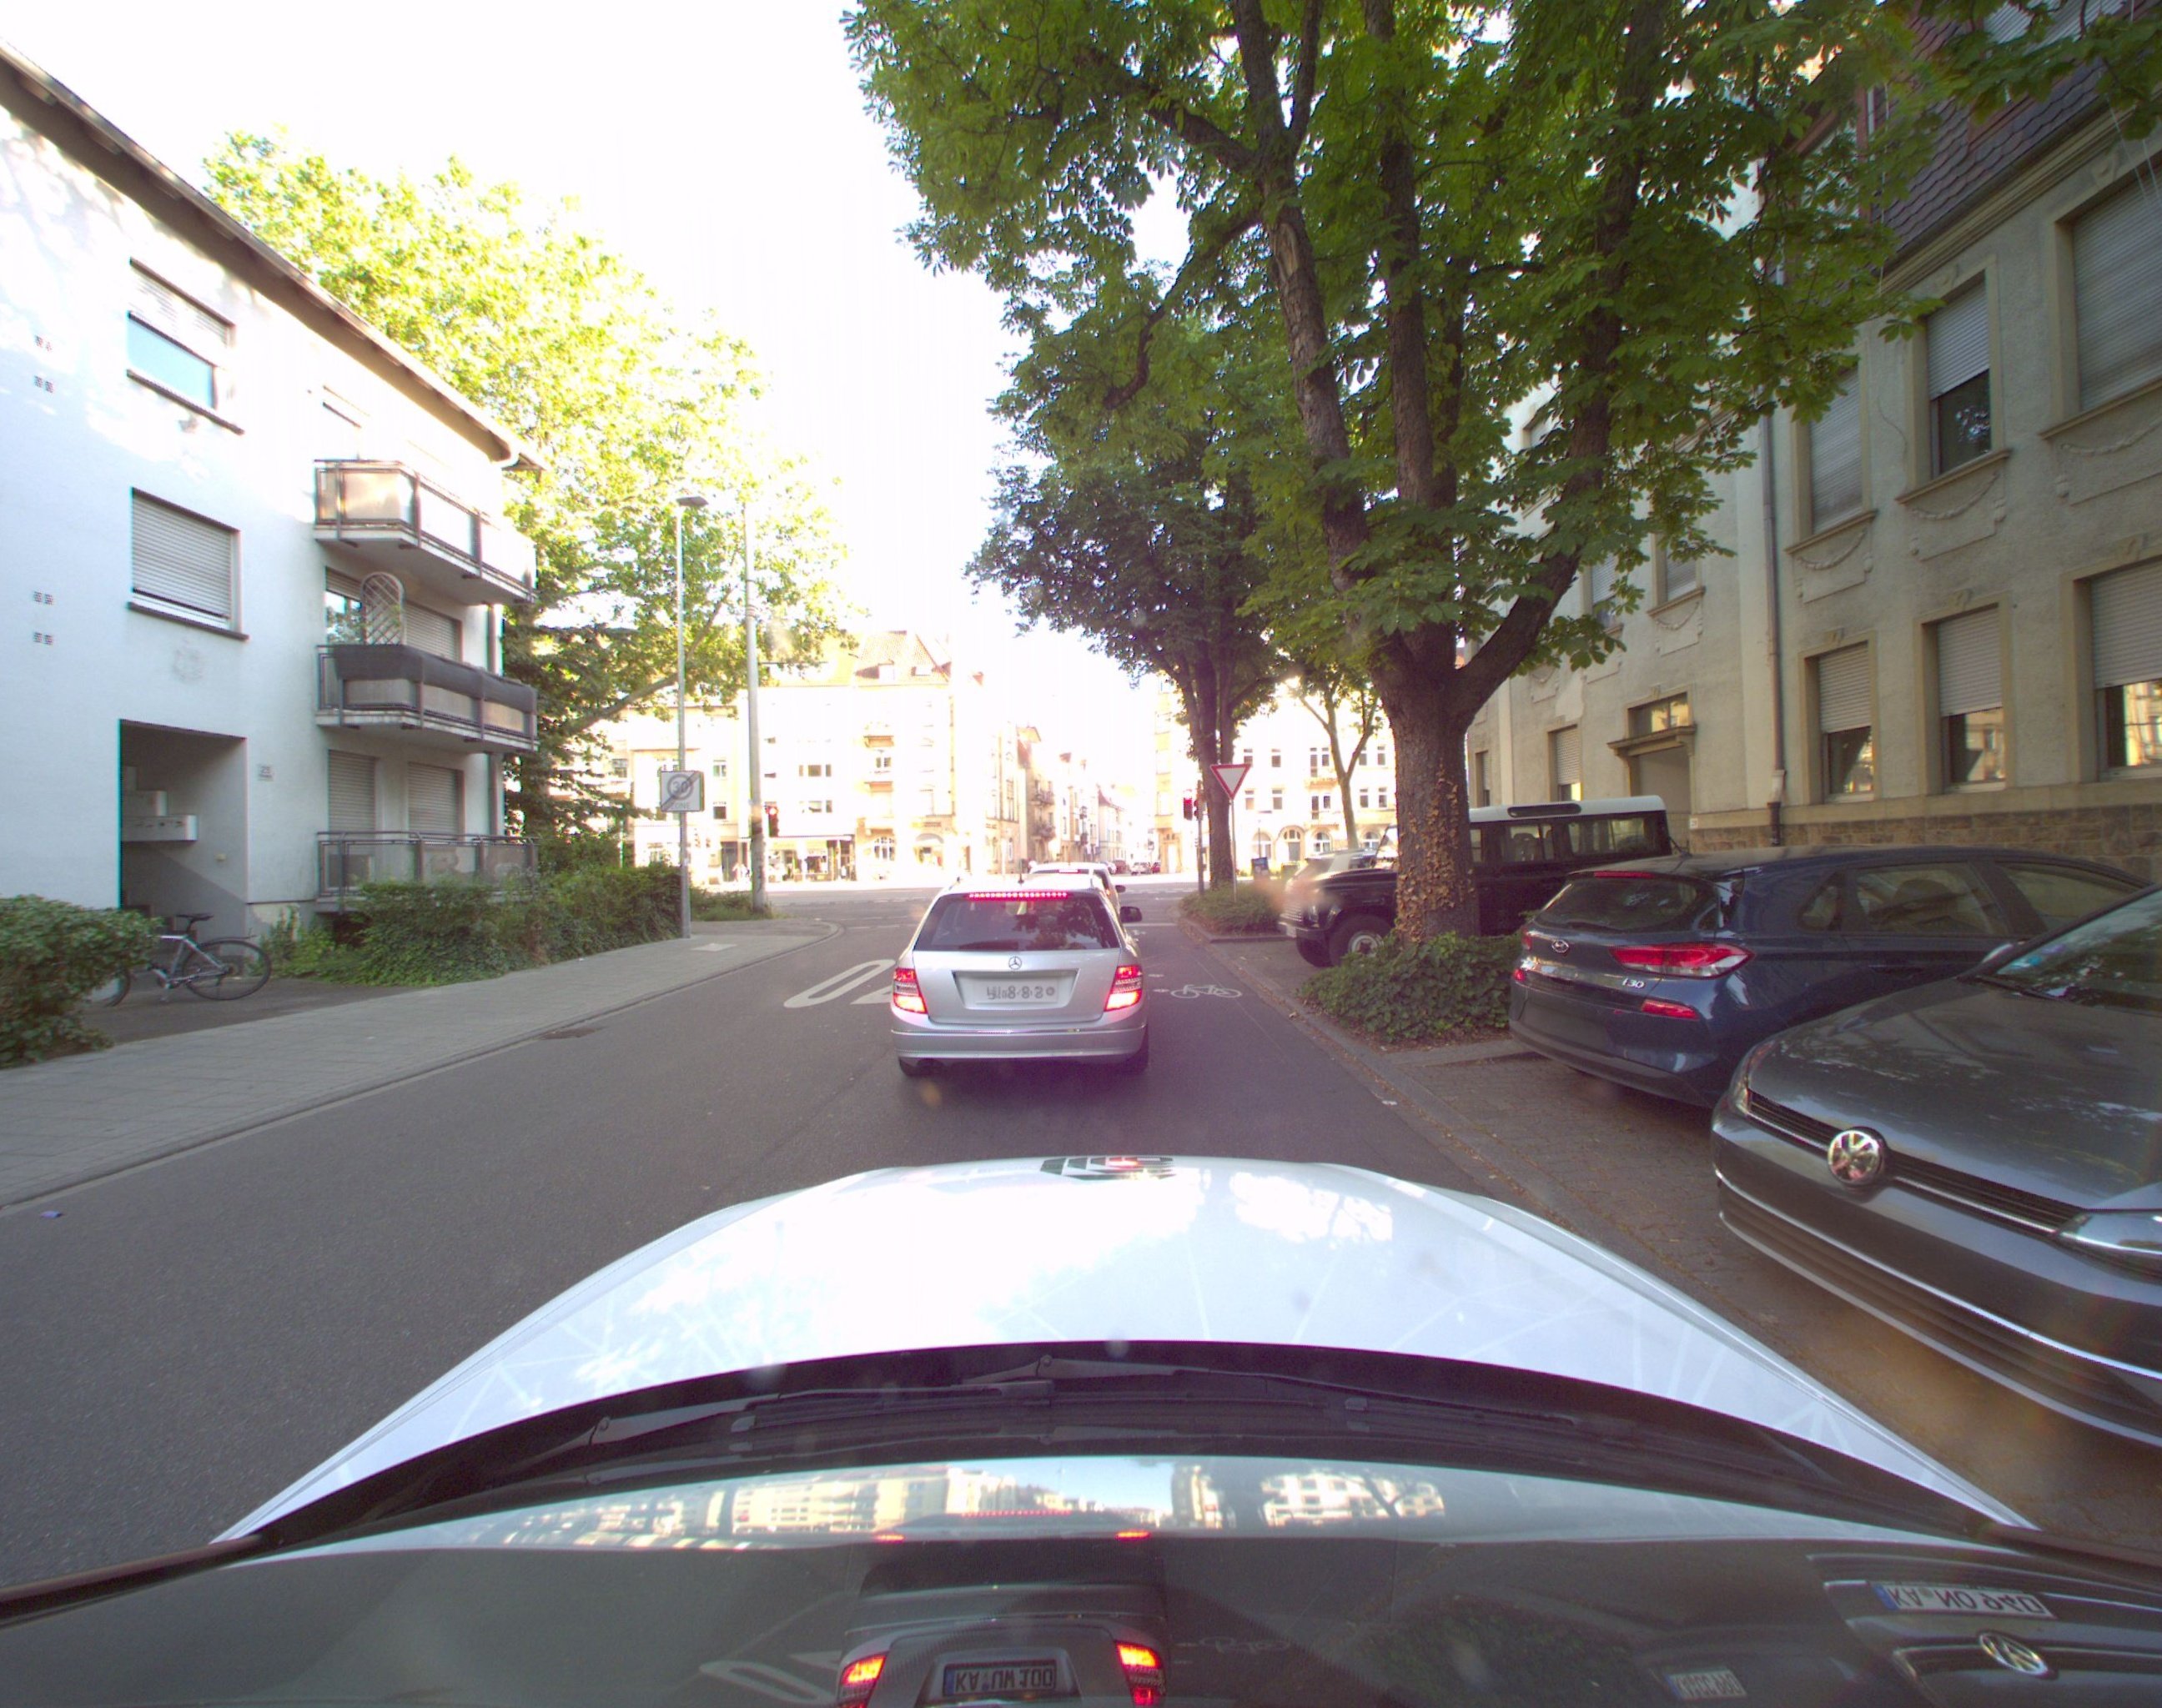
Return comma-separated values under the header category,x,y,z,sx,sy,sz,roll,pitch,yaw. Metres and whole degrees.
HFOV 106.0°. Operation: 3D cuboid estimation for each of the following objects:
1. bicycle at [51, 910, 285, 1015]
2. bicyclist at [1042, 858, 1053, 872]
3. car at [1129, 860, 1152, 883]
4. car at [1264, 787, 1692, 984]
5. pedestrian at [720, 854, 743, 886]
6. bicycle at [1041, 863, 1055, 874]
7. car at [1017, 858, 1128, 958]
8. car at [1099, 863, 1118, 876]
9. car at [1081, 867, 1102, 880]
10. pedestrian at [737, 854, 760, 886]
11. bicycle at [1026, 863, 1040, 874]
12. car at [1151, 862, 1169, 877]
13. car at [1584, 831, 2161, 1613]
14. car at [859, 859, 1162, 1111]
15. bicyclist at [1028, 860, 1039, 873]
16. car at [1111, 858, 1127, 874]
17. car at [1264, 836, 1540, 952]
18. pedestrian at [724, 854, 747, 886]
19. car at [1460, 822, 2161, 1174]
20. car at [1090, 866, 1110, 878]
category,x,y,z,sx,sy,sz,roll,pitch,yaw
bicycle,-9.998,1.154,9.012,1.630,1.008,0.511,2,-2,-39
bicyclist,-3.009,1.013,73.710,0.765,1.290,0.755,-1,0,13
car,6.304,1.800,85.906,2.018,2.279,4.012,-1,0,10
car,4.737,0.356,10.134,4.453,2.036,1.700,-3,-1,-2
pedestrian,-27.375,1.253,63.754,1.343,2.464,1.059,-1,0,-3
bicycle,-3.004,1.307,73.707,0.765,0.934,1.947,-1,0,13
car,-0.112,0.803,14.176,1.614,1.447,4.344,-1,0,0
car,3.705,2.051,108.845,1.824,1.663,4.012,-1,0,10
car,1.323,2.286,97.169,1.824,1.402,4.012,-1,0,10
pedestrian,-26.444,1.270,64.818,1.343,2.464,1.059,-1,0,-3
bicycle,-4.326,1.324,73.651,0.765,0.940,1.947,-1,0,13
car,9.874,1.891,101.863,1.824,1.744,4.012,-1,0,10
car,4.029,0.639,2.388,4.042,1.452,1.722,-3,-1,-2
car,-0.406,0.786,7.088,1.771,1.452,4.547,-1,0,0
bicyclist,-4.309,1.102,73.730,0.765,1.156,0.755,-1,0,13
car,5.479,1.702,117.404,1.776,2.204,4.012,-1,0,10
car,5.027,0.606,13.094,3.714,1.570,1.707,-3,-1,-2
pedestrian,-27.773,1.284,65.524,1.343,2.464,1.059,-1,0,-3
car,4.393,0.623,4.560,3.714,1.452,1.707,-3,-1,-2
car,2.394,2.239,102.639,1.824,1.402,4.012,-1,0,10
